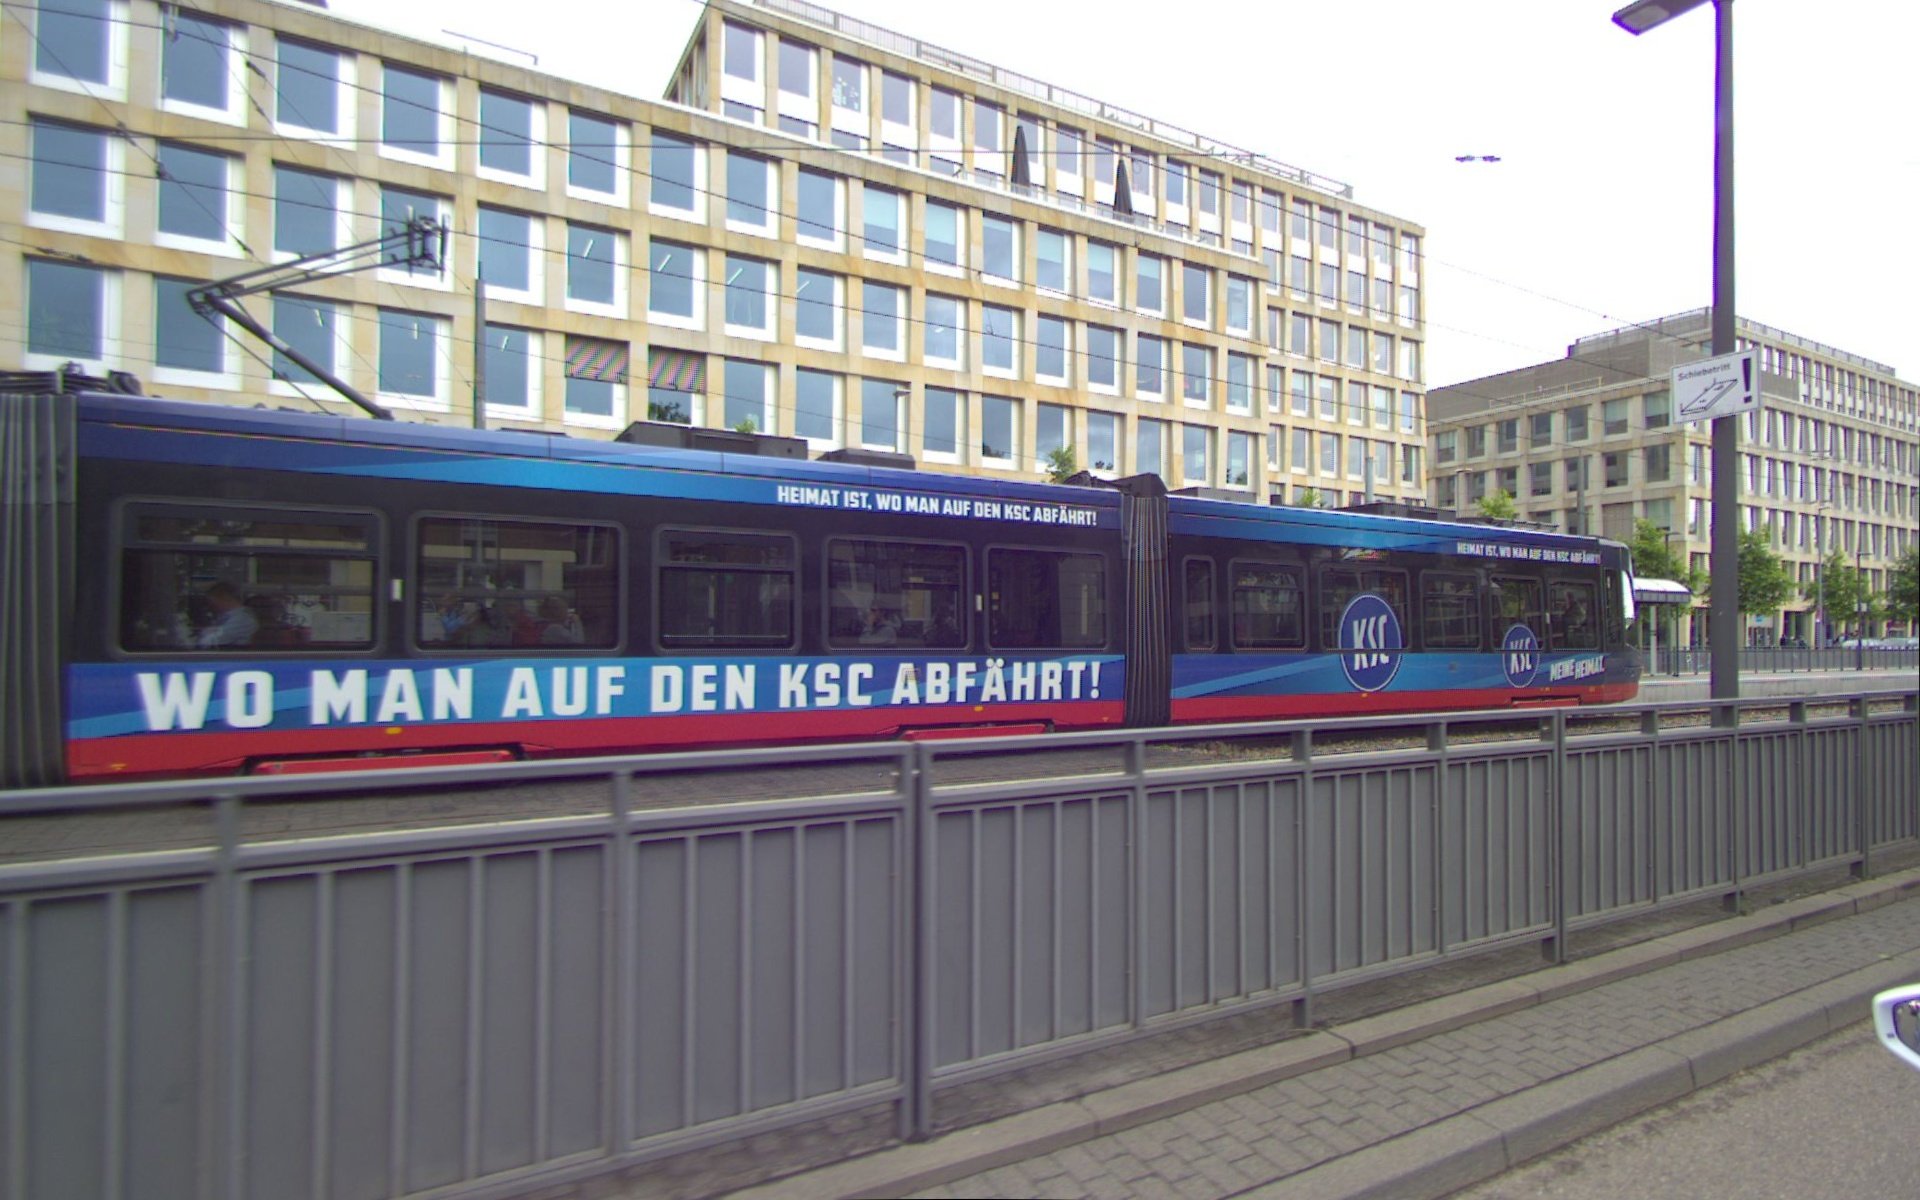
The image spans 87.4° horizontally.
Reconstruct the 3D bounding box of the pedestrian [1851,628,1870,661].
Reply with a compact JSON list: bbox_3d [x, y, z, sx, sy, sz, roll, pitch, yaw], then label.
[{"bbox_3d":[56.249,2.767,62.749,0.716,2.040,0.710,2,-2,-30],"label":"pedestrian"}]

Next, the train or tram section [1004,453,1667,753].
[{"bbox_3d":[7.131,0.295,17.161,13.363,3.740,2.841,2,-3,-30],"label":"train or tram section"}]

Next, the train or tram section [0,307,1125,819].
[{"bbox_3d":[-3.635,-0.079,10.819,11.563,3.688,2.841,2,-3,-30],"label":"train or tram section"}]

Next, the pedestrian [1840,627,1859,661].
[{"bbox_3d":[54.809,2.711,61.892,0.716,2.040,0.710,2,-2,-30],"label":"pedestrian"}]

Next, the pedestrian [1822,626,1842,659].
[{"bbox_3d":[54.893,2.668,63.227,0.716,2.040,0.710,2,-2,-29],"label":"pedestrian"}]
